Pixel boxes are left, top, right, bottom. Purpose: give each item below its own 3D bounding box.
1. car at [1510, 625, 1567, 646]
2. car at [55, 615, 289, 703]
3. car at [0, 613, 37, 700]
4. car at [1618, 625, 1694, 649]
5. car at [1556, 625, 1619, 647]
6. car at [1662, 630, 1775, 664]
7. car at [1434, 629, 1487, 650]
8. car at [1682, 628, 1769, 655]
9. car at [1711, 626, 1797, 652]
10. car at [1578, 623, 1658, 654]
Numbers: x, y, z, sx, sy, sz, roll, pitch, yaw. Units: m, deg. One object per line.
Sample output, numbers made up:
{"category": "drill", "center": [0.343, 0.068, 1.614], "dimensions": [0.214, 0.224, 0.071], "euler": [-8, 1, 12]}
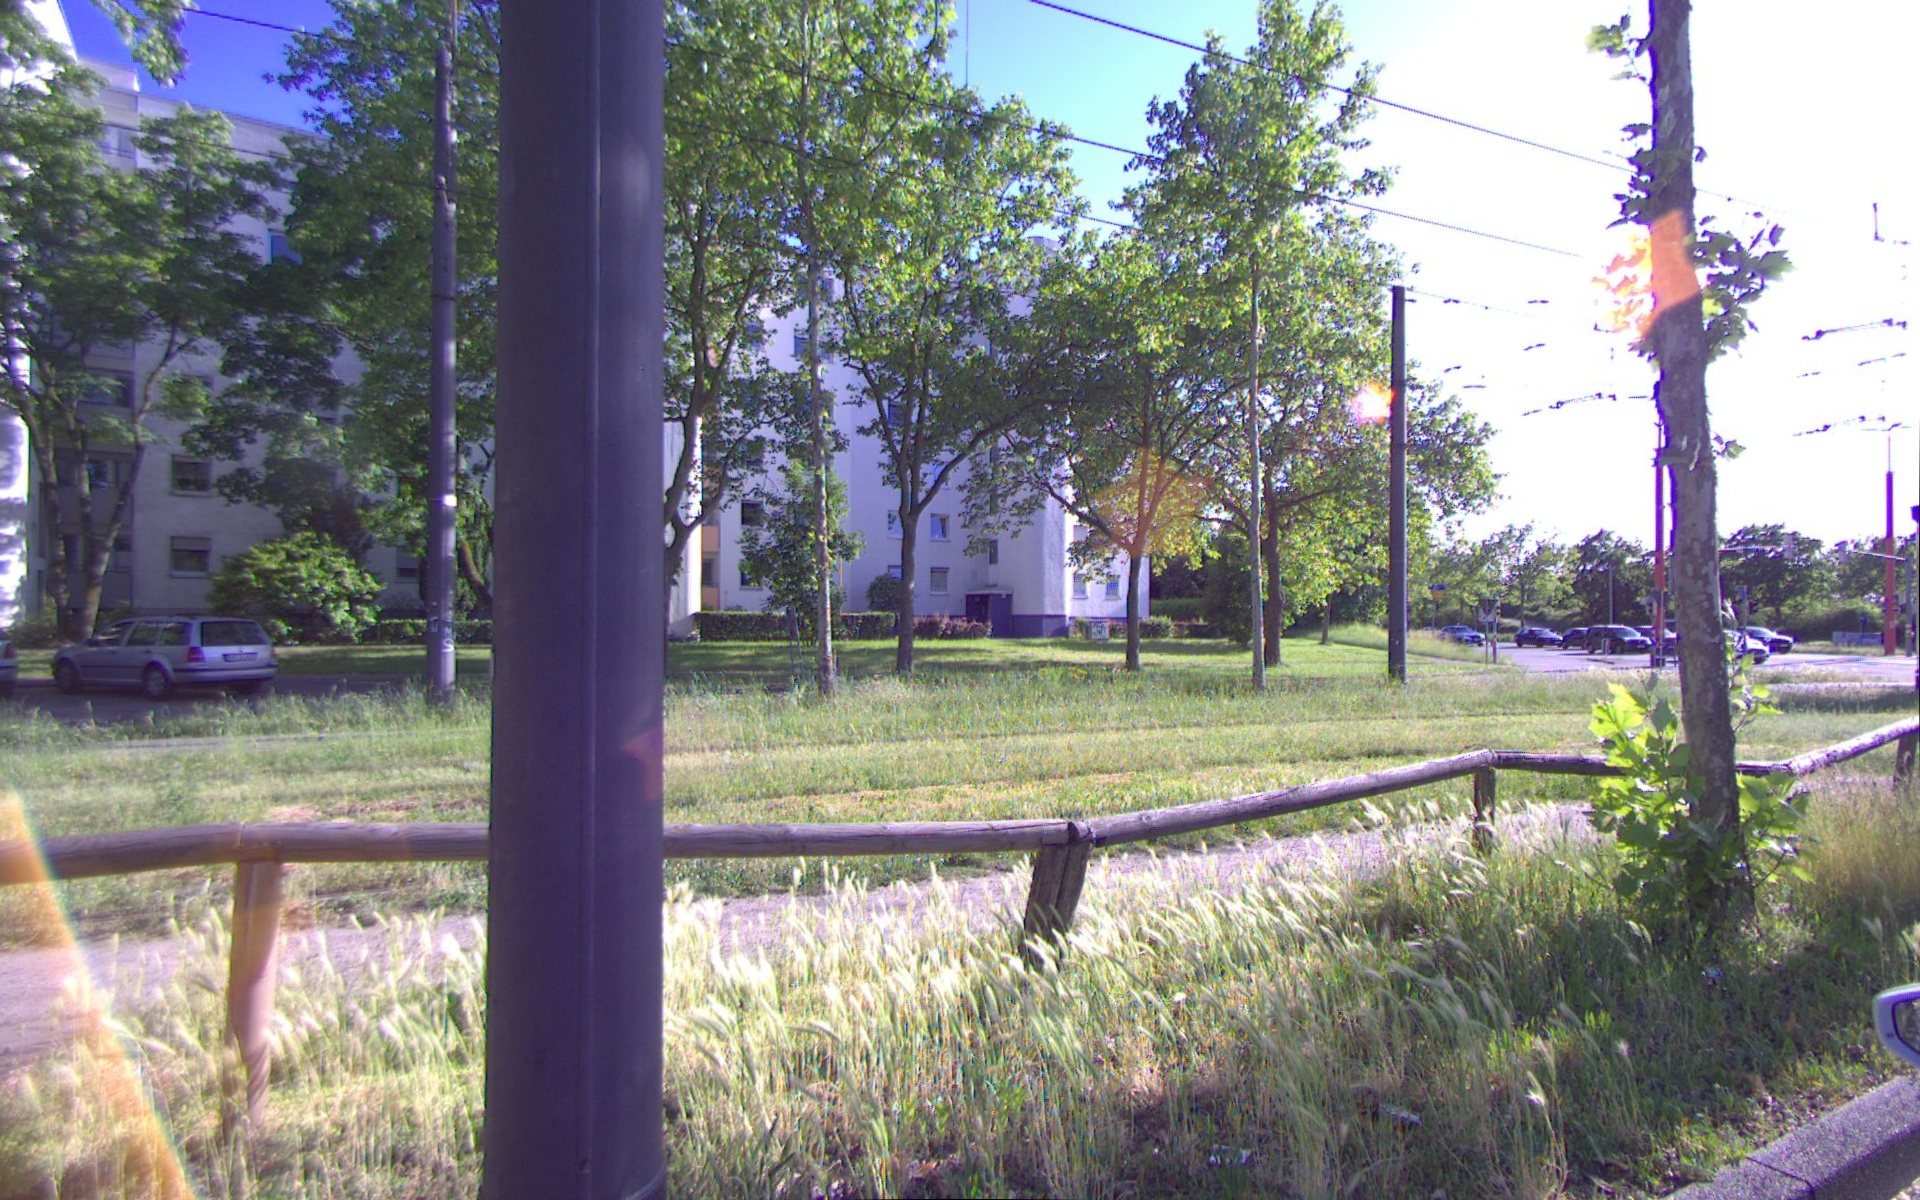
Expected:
{"category": "car", "center": [44.834, 2.742, 77.951], "dimensions": [1.877, 1.483, 4.239], "euler": [1, -1, -3]}
{"category": "car", "center": [-14.472, 1.028, 18.487], "dimensions": [3.609, 1.452, 1.732], "euler": [0, -1, 20]}
{"category": "car", "center": [-17.916, 0.929, 17.143], "dimensions": [3.609, 1.452, 1.703], "euler": [0, -1, 20]}
{"category": "car", "center": [45.533, 2.407, 65.808], "dimensions": [1.877, 1.483, 4.373], "euler": [1, -1, -2]}
{"category": "car", "center": [45.009, 2.566, 72.142], "dimensions": [1.877, 1.483, 4.055], "euler": [1, -1, -3]}
{"category": "car", "center": [38.734, 2.363, 51.473], "dimensions": [1.961, 1.596, 4.929], "euler": [1, -1, -2]}
{"category": "car", "center": [41.965, 3.322, 84.325], "dimensions": [1.877, 1.619, 4.795], "euler": [1, -1, -2]}
{"category": "car", "center": [45.665, 2.465, 60.043], "dimensions": [1.877, 1.483, 4.222], "euler": [1, -1, -2]}
{"category": "car", "center": [48.629, 2.392, 61.642], "dimensions": [1.877, 1.483, 4.222], "euler": [1, -1, -2]}
{"category": "car", "center": [42.181, 2.429, 64.544], "dimensions": [1.877, 1.860, 4.795], "euler": [1, -1, -2]}
